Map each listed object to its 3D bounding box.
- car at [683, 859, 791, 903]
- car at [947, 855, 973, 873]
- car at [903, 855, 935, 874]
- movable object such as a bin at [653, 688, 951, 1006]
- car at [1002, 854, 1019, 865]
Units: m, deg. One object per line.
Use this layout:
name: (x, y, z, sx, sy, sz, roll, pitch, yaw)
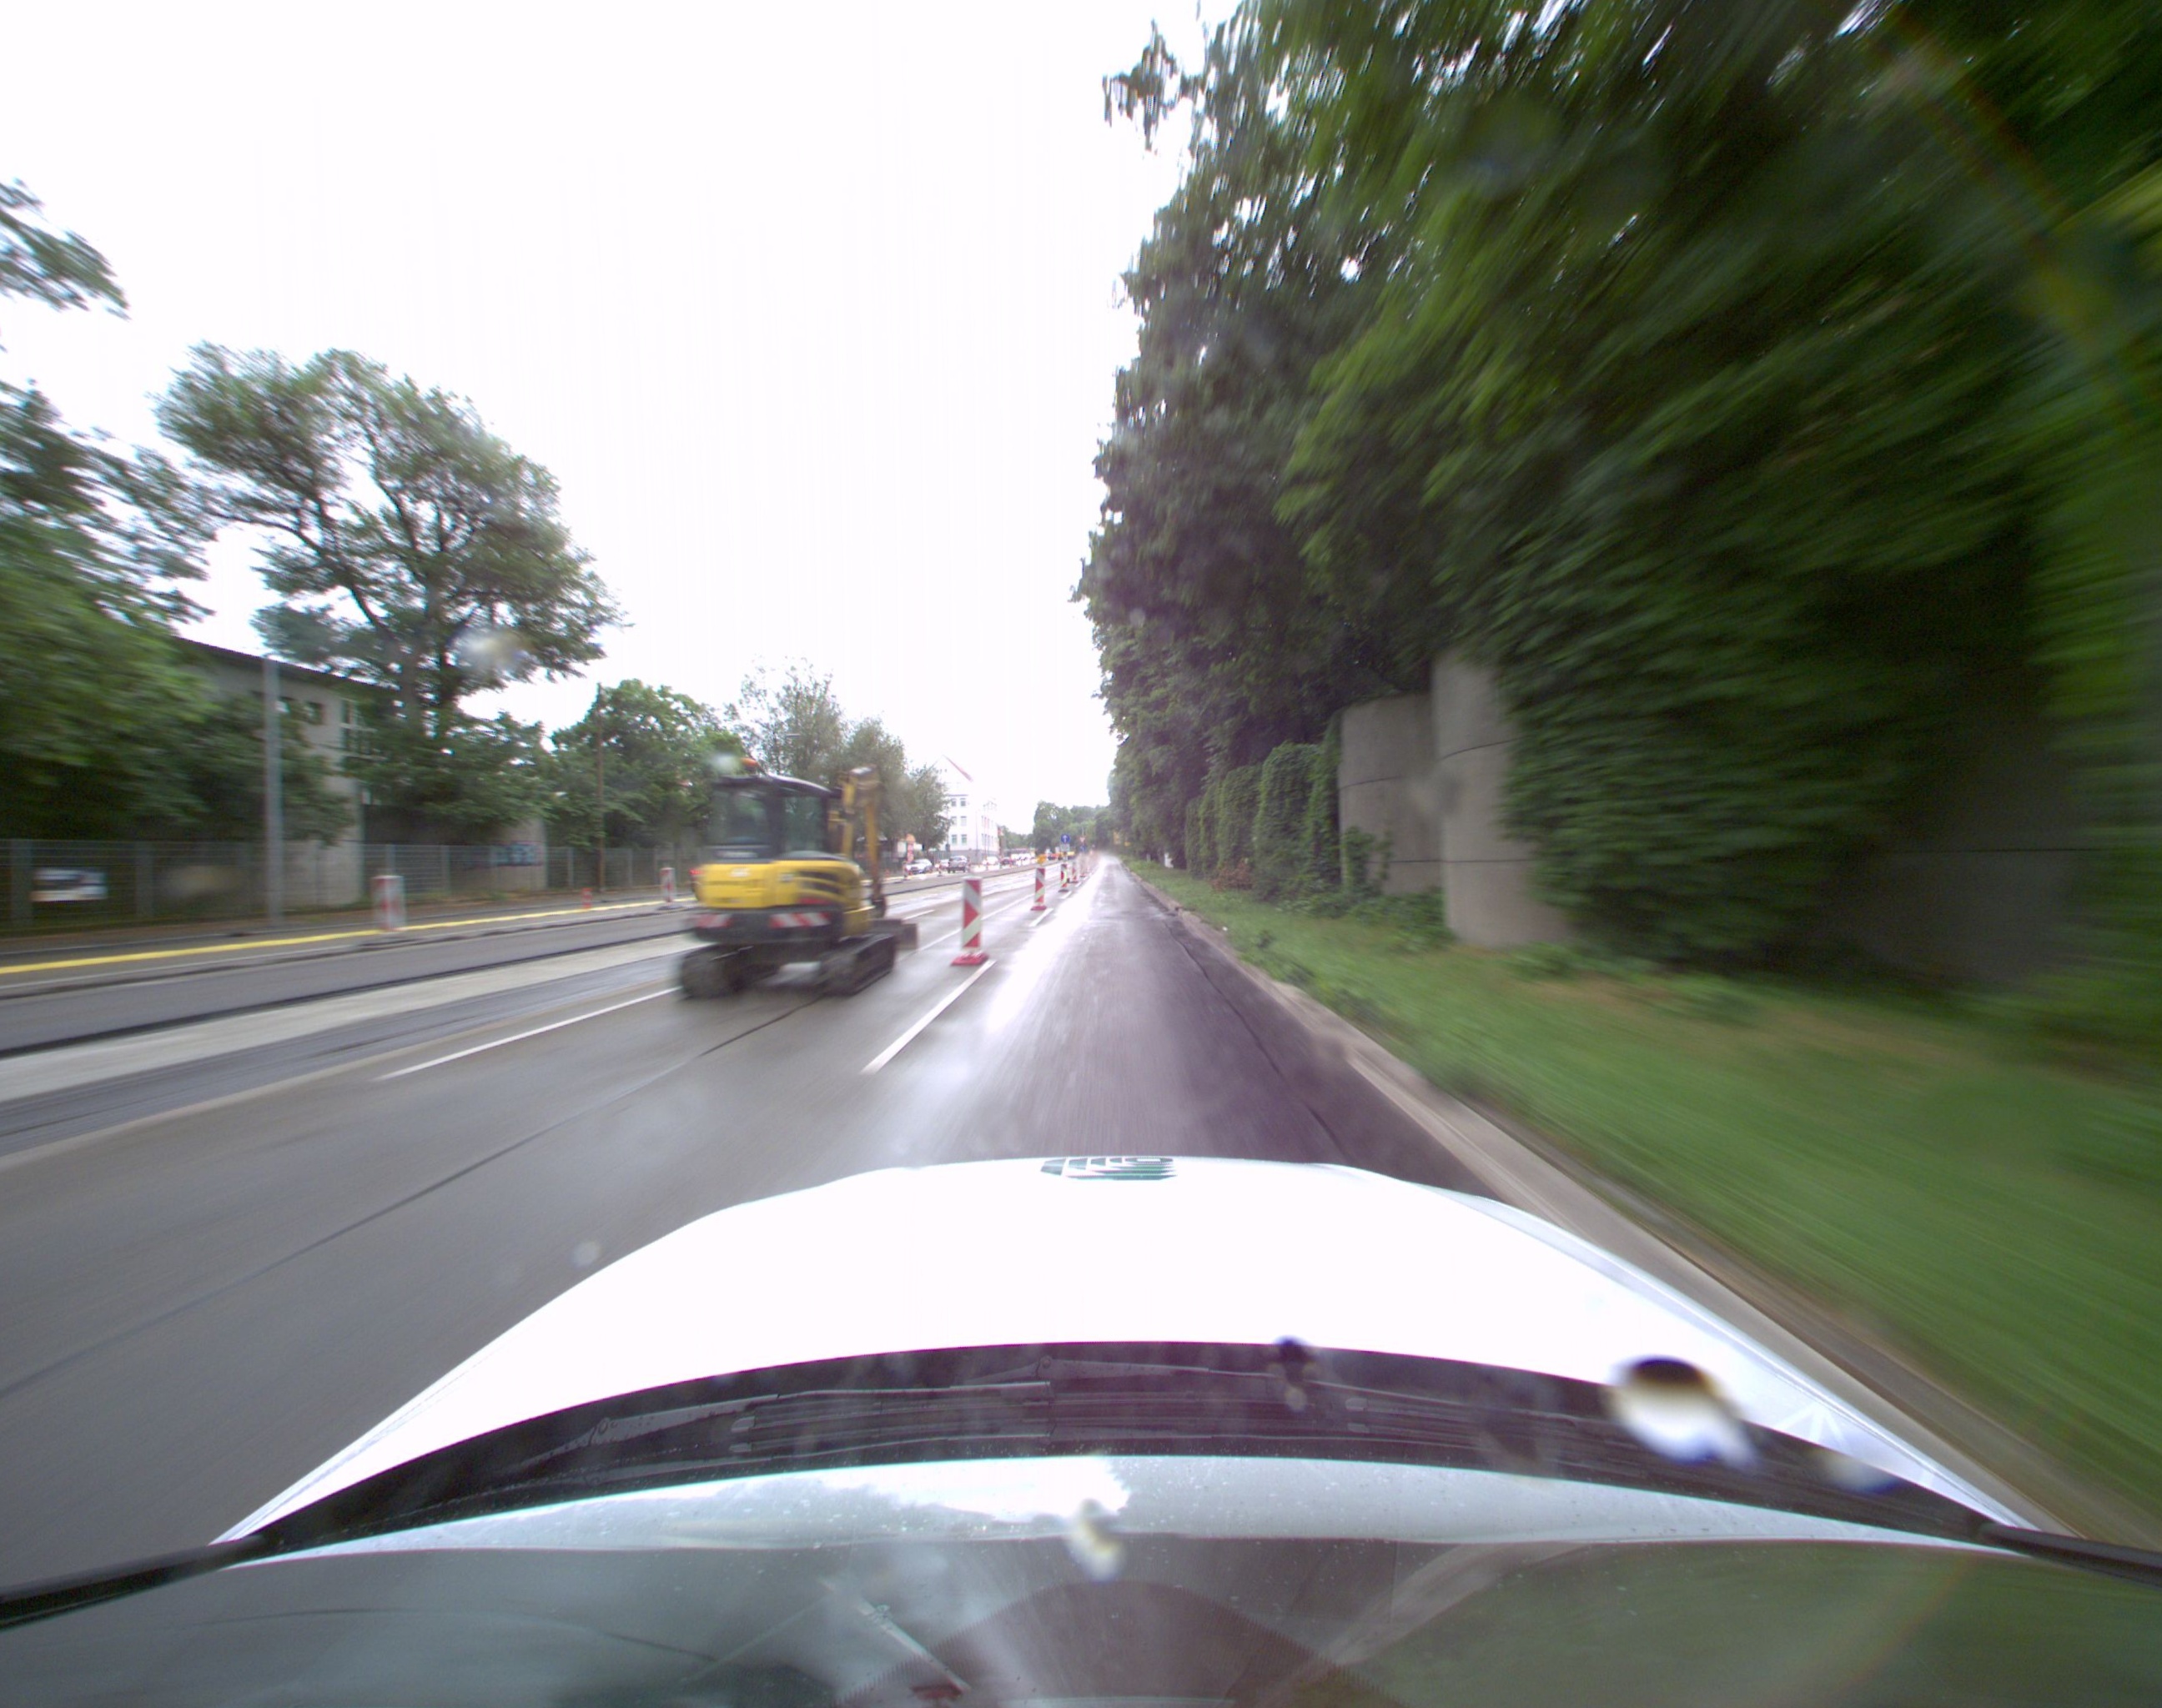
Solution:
car: (-13.654, 1.007, 32.703, 2.069, 1.613, 5.057, -1, 0, 1)
car: (-11.960, 0.977, 80.666, 1.847, 1.648, 4.002, -1, 0, 2)
car: (-15.430, 0.984, 77.892, 1.986, 1.766, 4.281, -1, 0, 2)
movable object such as a bin: (-3.468, -0.052, 11.689, 1.986, 3.367, 5.985, -1, -1, 2)
car: (-10.360, 0.788, 119.596, 1.986, 1.519, 4.001, -1, 0, 2)
